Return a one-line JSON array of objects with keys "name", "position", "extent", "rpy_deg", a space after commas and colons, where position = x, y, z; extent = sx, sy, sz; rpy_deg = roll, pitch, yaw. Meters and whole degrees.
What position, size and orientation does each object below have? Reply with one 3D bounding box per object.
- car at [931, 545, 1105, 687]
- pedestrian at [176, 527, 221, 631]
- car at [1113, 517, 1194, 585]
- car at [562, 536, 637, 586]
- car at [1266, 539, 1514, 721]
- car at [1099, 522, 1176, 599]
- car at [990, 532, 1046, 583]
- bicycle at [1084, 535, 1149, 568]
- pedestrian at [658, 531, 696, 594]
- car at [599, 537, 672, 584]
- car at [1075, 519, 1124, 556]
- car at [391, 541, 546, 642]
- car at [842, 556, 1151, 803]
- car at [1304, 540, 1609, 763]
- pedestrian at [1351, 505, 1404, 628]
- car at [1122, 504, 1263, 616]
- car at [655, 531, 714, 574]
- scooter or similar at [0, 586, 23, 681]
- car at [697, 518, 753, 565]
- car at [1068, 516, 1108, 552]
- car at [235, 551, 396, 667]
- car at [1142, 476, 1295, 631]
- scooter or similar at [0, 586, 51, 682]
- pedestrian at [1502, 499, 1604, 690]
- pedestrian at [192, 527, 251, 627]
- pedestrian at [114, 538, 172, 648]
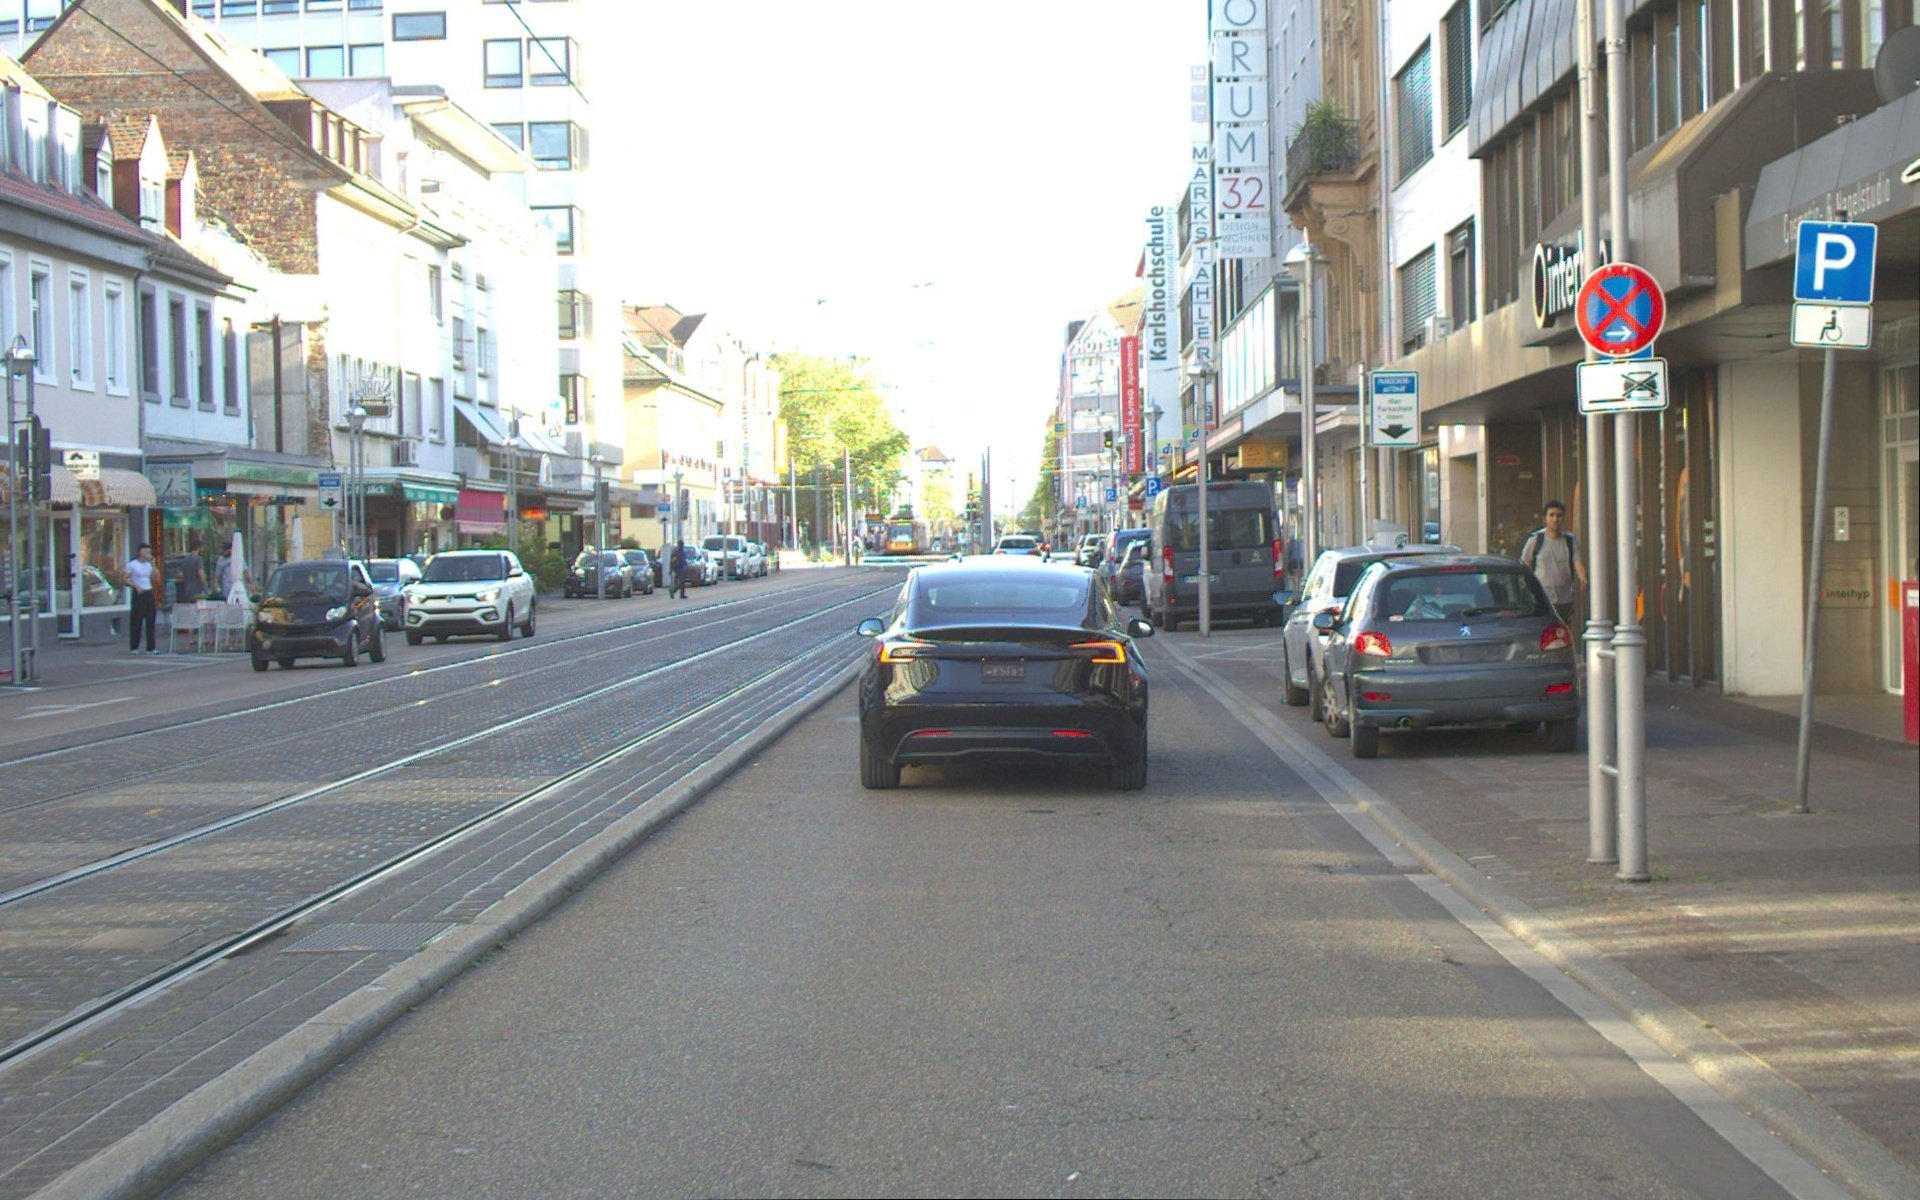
[{"name": "car", "position": [0.642, 0.140, 37.428], "extent": [1.762, 1.414, 4.354], "rpy_deg": [-1, 1, 1]}, {"name": "pedestrian", "position": [-13.495, -0.383, 60.917], "extent": [0.656, 1.817, 0.643], "rpy_deg": [-1, 1, -4]}, {"name": "car", "position": [4.496, -1.158, 80.247], "extent": [1.751, 1.494, 3.753], "rpy_deg": [-2, 2, 2]}, {"name": "car", "position": [-11.362, -1.245, 108.615], "extent": [1.770, 1.503, 3.864], "rpy_deg": [-1, 1, 2]}, {"name": "car", "position": [3.799, 0.217, 31.022], "extent": [1.745, 1.457, 4.296], "rpy_deg": [-2, 1, 1]}, {"name": "car", "position": [4.434, -1.009, 86.396], "extent": [1.821, 1.864, 3.753], "rpy_deg": [-1, 2, 2]}, {"name": "car", "position": [2.268, -1.663, 132.804], "extent": [2.085, 1.864, 3.753], "rpy_deg": [-1, 2, 2]}, {"name": "bicycle", "position": [5.398, -1.666, 118.449], "extent": [2.159, 1.093, 0.686], "rpy_deg": [-1, 1, -1]}, {"name": "pedestrian", "position": [-8.517, -1.132, 103.509], "extent": [0.772, 1.842, 0.827], "rpy_deg": [-1, 1, 30]}, {"name": "car", "position": [-10.828, -1.337, 114.924], "extent": [1.770, 1.503, 3.860], "rpy_deg": [-1, 1, 5]}, {"name": "car", "position": [5.964, -2.654, 147.252], "extent": [1.993, 1.537, 4.000], "rpy_deg": [-1, 1, 1]}, {"name": "car", "position": [-8.552, -0.179, 60.142], "extent": [1.890, 1.588, 4.263], "rpy_deg": [-3, 1, 2]}, {"name": "car", "position": [0.286, 0.457, 23.116], "extent": [1.870, 1.422, 4.364], "rpy_deg": [-1, 2, 2]}, {"name": "car", "position": [3.663, 0.322, 26.018], "extent": [1.848, 1.457, 4.302], "rpy_deg": [-2, 1, 3]}, {"name": "pedestrian", "position": [5.953, -0.480, 49.024], "extent": [0.556, 1.708, 0.955], "rpy_deg": [-3, 1, 0]}, {"name": "car", "position": [4.440, -0.807, 66.371], "extent": [2.158, 1.920, 4.618], "rpy_deg": [-4, 2, -2]}, {"name": "car", "position": [-10.592, -1.836, 132.152], "extent": [1.718, 1.566, 3.849], "rpy_deg": [-1, 1, 3]}, {"name": "scooter or similar", "position": [-12.705, 0.429, 44.880], "extent": [0.579, 1.197, 1.477], "rpy_deg": [0, 1, -2]}, {"name": "car", "position": [-10.342, -2.594, 151.471], "extent": [2.009, 1.954, 4.724], "rpy_deg": [-1, 1, 1]}, {"name": "car", "position": [6.533, -3.352, 175.739], "extent": [1.993, 1.747, 4.000], "rpy_deg": [-1, 1, 1]}, {"name": "car", "position": [-9.137, 0.110, 48.922], "extent": [1.648, 1.560, 2.829], "rpy_deg": [-1, 1, 2]}, {"name": "car", "position": [4.440, -0.843, 59.825], "extent": [2.171, 2.453, 5.362], "rpy_deg": [-3, 1, 1]}, {"name": "scooter or similar", "position": [-12.218, 0.429, 44.871], "extent": [0.364, 1.197, 1.477], "rpy_deg": [1, 1, -2]}, {"name": "pedestrian", "position": [5.562, -0.063, 32.292], "extent": [0.779, 1.746, 1.032], "rpy_deg": [-1, 1, 2]}, {"name": "pedestrian", "position": [-13.239, -0.425, 61.647], "extent": [0.886, 1.769, 0.688], "rpy_deg": [-1, 1, 0]}, {"name": "pedestrian", "position": [-13.333, -0.118, 56.104], "extent": [0.614, 1.769, 0.718], "rpy_deg": [-1, 1, 15]}]
